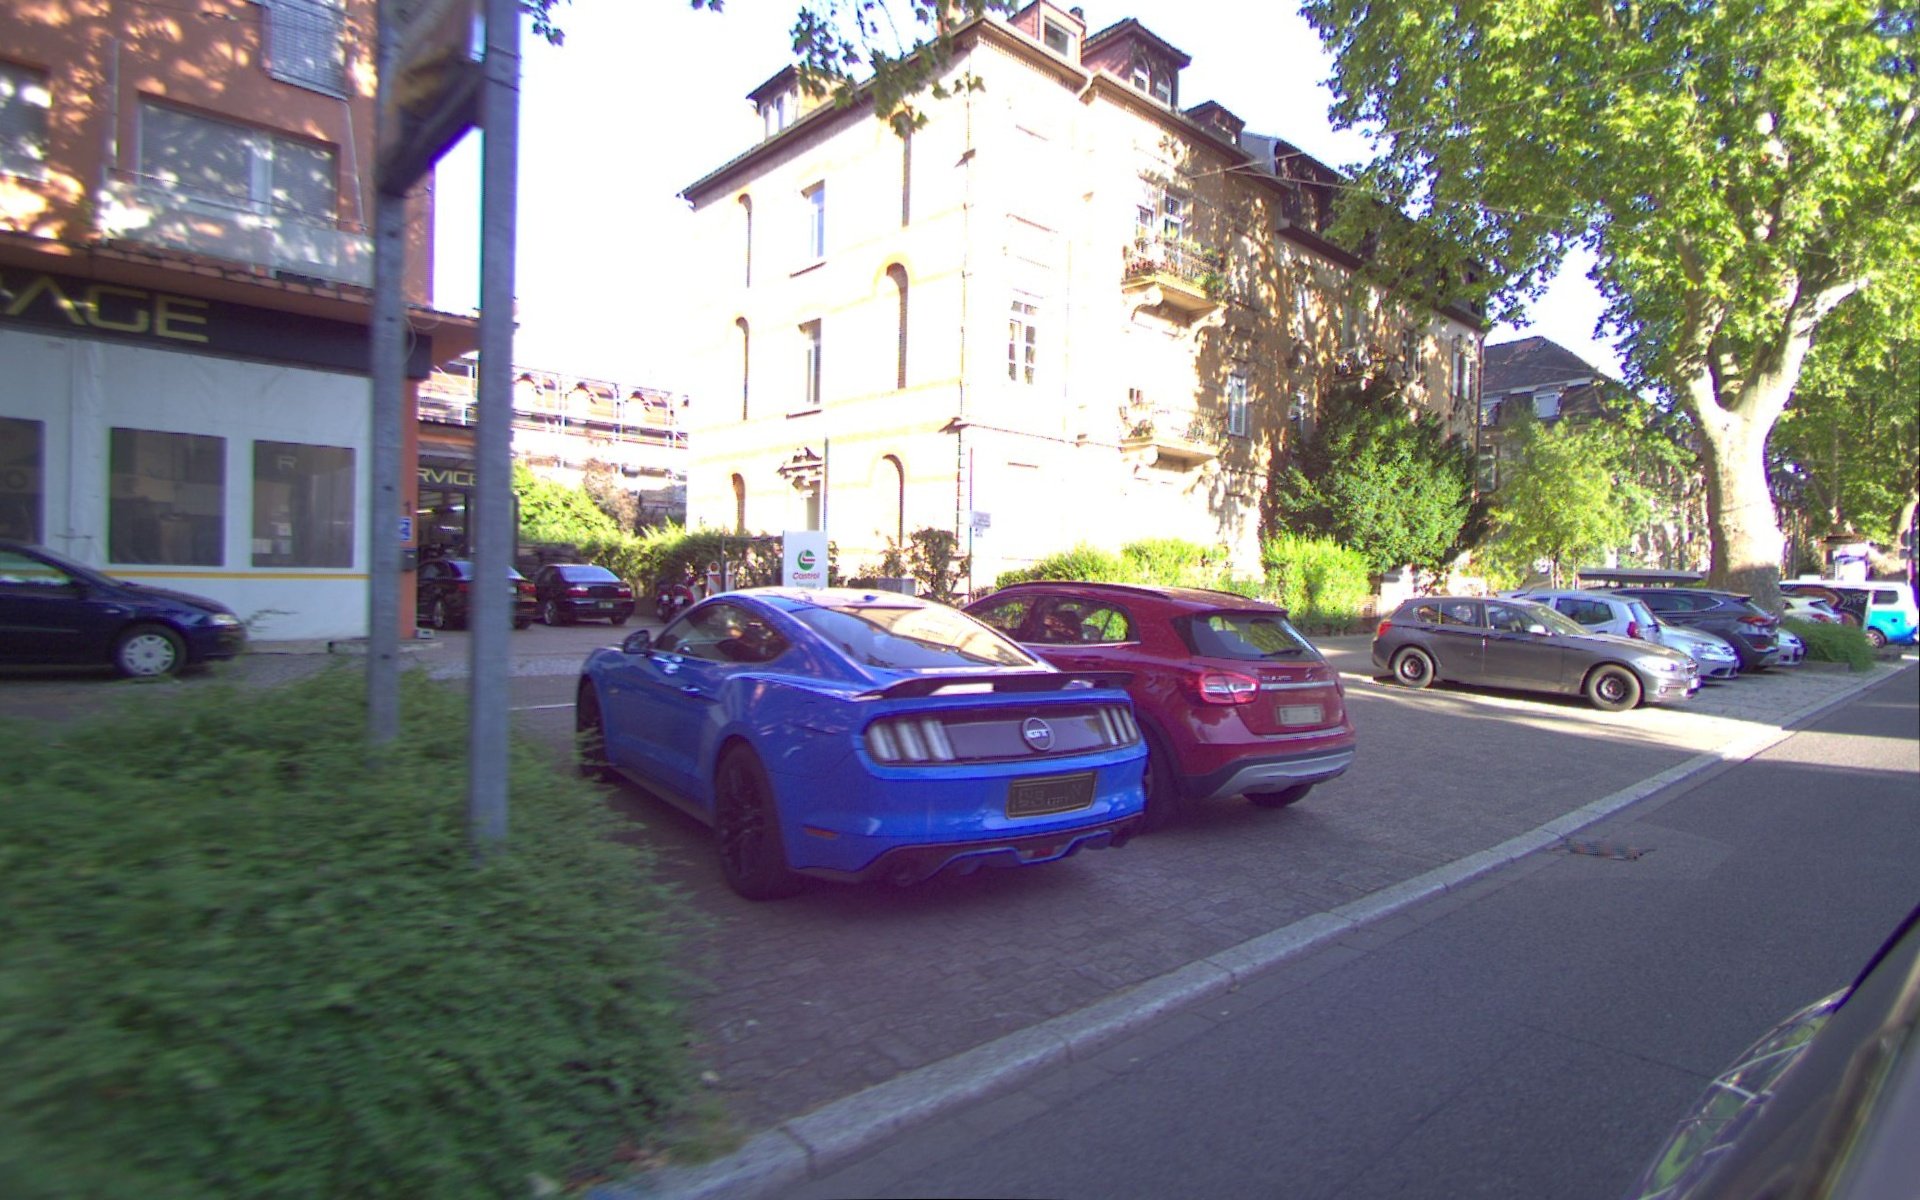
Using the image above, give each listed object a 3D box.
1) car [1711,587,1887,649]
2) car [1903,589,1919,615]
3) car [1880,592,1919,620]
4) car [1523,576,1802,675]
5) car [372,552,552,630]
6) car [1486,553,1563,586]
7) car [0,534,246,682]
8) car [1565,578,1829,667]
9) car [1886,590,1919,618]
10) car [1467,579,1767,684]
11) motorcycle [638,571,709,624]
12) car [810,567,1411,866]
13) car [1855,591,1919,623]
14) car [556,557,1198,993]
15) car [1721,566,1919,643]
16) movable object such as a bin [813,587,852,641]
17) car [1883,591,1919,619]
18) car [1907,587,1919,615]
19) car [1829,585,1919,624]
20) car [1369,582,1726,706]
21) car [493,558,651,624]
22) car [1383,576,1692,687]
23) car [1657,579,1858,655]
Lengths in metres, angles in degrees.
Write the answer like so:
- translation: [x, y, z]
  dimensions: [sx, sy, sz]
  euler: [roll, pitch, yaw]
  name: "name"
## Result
- translation: [24.731, 0.474, 29.906]
  dimensions: [1.761, 1.506, 3.787]
  euler: [0, 3, -44]
  name: "car"
- translation: [67.953, 0.240, 69.335]
  dimensions: [1.858, 1.814, 4.613]
  euler: [1, 2, -39]
  name: "car"
- translation: [55.484, 0.412, 57.411]
  dimensions: [1.858, 1.513, 4.613]
  euler: [1, 2, -39]
  name: "car"
- translation: [13.619, 0.406, 19.800]
  dimensions: [1.848, 1.639, 4.203]
  euler: [0, 2, -44]
  name: "car"
- translation: [-10.240, -0.235, 20.709]
  dimensions: [3.984, 1.407, 1.914]
  euler: [3, 2, 41]
  name: "car"
- translation: [28.891, -1.555, 51.777]
  dimensions: [3.922, 1.602, 1.732]
  euler: [1, 2, -33]
  name: "car"
- translation: [-9.983, 0.039, 10.628]
  dimensions: [3.882, 1.452, 1.752]
  euler: [0, 2, -42]
  name: "car"
- translation: [15.559, 0.395, 21.547]
  dimensions: [1.785, 1.639, 4.210]
  euler: [0, 2, -39]
  name: "car"
- translation: [58.694, 0.316, 60.503]
  dimensions: [1.858, 1.661, 4.613]
  euler: [1, 2, -39]
  name: "car"
- translation: [11.774, 0.471, 18.386]
  dimensions: [1.785, 1.593, 4.210]
  euler: [0, 2, -39]
  name: "car"
- translation: [-6.525, -0.083, 22.974]
  dimensions: [0.792, 1.116, 2.386]
  euler: [1, 2, -35]
  name: "motorcycle"
- translation: [0.832, 0.576, 7.777]
  dimensions: [1.917, 1.562, 4.414]
  euler: [0, 2, -39]
  name: "car"
- translation: [49.260, 0.424, 52.019]
  dimensions: [1.858, 1.513, 4.613]
  euler: [1, 2, -39]
  name: "car"
- translation: [-0.906, 0.555, 5.957]
  dimensions: [1.783, 1.562, 4.419]
  euler: [0, 2, -35]
  name: "car"
- translation: [26.902, 0.069, 31.459]
  dimensions: [2.159, 2.038, 4.850]
  euler: [0, 3, -45]
  name: "car"
- translation: [-2.344, 0.252, 18.570]
  dimensions: [0.438, 0.951, 0.659]
  euler: [-1, 2, -37]
  name: "movable object such as a bin"
- translation: [57.280, 0.360, 59.169]
  dimensions: [1.858, 1.585, 4.613]
  euler: [1, 2, -39]
  name: "car"
- translation: [72.288, 0.203, 73.665]
  dimensions: [1.858, 2.038, 4.638]
  euler: [1, 2, -39]
  name: "car"
- translation: [43.983, 0.253, 47.338]
  dimensions: [1.860, 1.651, 4.807]
  euler: [1, 2, -42]
  name: "car"
- translation: [8.503, 0.531, 14.941]
  dimensions: [1.786, 1.465, 4.207]
  euler: [0, 2, -42]
  name: "car"
- translation: [-8.931, -0.242, 23.146]
  dimensions: [3.989, 1.343, 1.911]
  euler: [3, 2, 45]
  name: "car"
- translation: [9.719, 0.438, 17.315]
  dimensions: [1.785, 1.575, 4.210]
  euler: [0, 2, -39]
  name: "car"
- translation: [20.363, 0.371, 25.943]
  dimensions: [1.761, 1.638, 3.787]
  euler: [0, 3, -44]
  name: "car"
